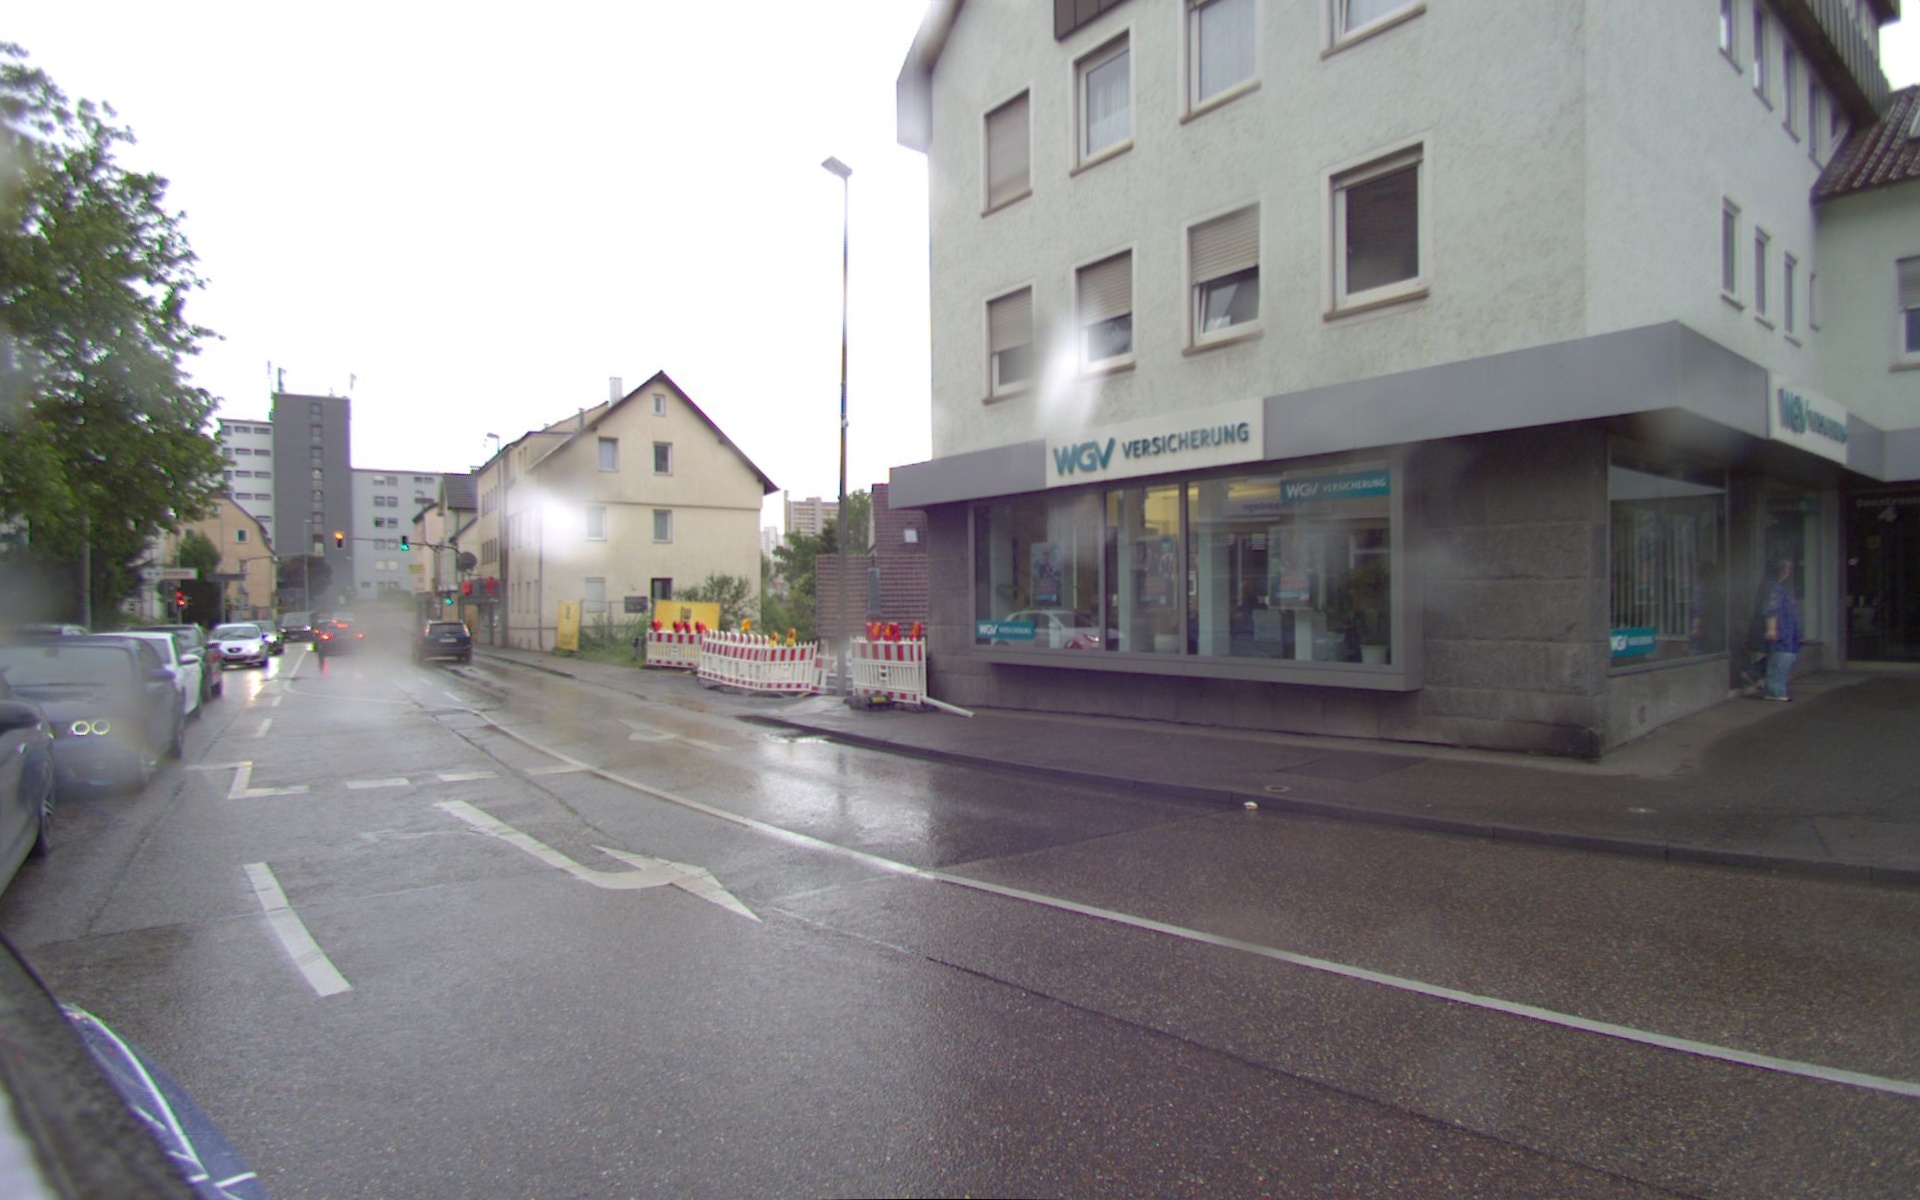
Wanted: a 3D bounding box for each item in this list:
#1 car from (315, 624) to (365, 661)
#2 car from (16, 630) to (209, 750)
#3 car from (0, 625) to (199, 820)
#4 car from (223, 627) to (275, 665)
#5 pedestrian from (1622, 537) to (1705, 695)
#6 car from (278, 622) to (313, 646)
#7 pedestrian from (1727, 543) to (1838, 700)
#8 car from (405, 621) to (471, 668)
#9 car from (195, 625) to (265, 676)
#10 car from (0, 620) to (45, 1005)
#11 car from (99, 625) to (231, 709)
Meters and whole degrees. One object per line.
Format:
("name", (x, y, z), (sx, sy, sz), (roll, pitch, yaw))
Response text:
("car", (-28.146, 1.884, 45.866), (1.784, 1.577, 4.011), (1, -2, -33))
("car", (-12.901, 1.262, 15.652), (1.967, 1.464, 4.009), (-2, 0, -36))
("car", (-8.910, 1.053, 10.107), (1.745, 1.544, 4.390), (-1, -1, -33))
("car", (-33.238, 2.126, 47.394), (1.803, 1.563, 4.011), (-3, 0, -33))
("pedestrian", (8.508, 0.186, 12.246), (0.608, 1.833, 0.673), (-2, 0, -45))
("car", (-44.787, 2.272, 68.196), (1.824, 1.489, 4.009), (-1, -1, -36))
("pedestrian", (9.254, 0.235, 11.391), (0.608, 1.684, 0.863), (-2, 0, -44))
("car", (-19.165, 1.593, 37.083), (1.784, 1.577, 4.011), (-1, -1, -33))
("car", (-25.591, 1.726, 35.409), (1.816, 1.633, 4.008), (-1, -1, -38))
("car", (-5.724, 0.886, 4.747), (1.969, 1.504, 4.320), (-1, -1, -40))
("car", (-16.891, 1.344, 21.679), (1.784, 1.577, 4.011), (-1, -1, -32))
